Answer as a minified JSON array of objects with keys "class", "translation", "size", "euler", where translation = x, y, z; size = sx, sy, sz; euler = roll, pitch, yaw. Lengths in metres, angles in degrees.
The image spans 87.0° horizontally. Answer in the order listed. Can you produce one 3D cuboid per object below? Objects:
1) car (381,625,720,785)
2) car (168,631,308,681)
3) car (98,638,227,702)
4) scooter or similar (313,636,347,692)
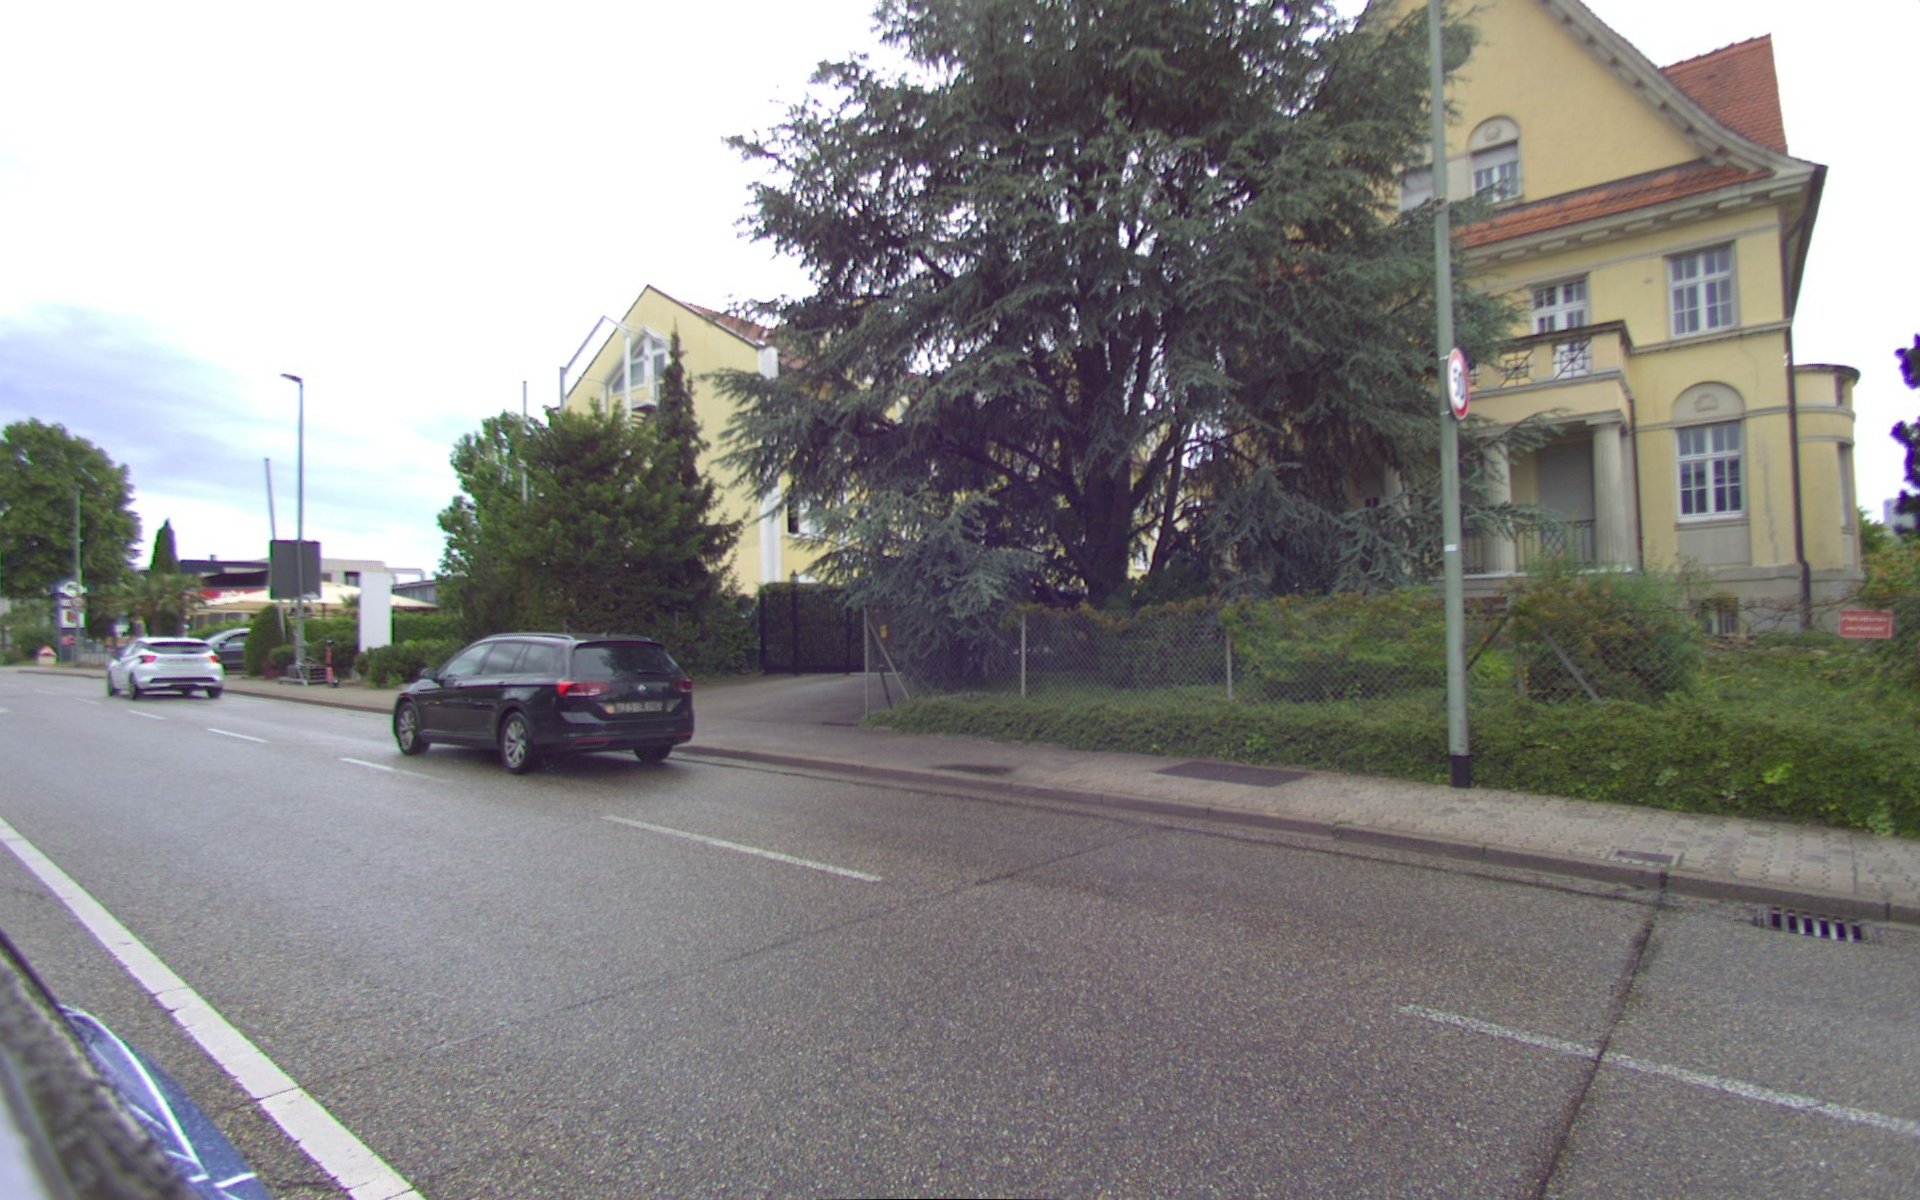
[{"class":"car","translation":[-4.869,1.052,11.727],"size":[4.468,1.513,1.758],"euler":[-1,-2,40]},{"class":"car","translation":[-25.876,1.971,36.349],"size":[3.876,1.664,1.720],"euler":[1,-2,-44]},{"class":"car","translation":[-19.520,1.650,24.730],"size":[3.799,1.408,1.728],"euler":[-1,-2,40]},{"class":"scooter or similar","translation":[-16.441,1.642,26.404],"size":[0.498,1.416,1.884],"euler":[1,-2,-39]}]
